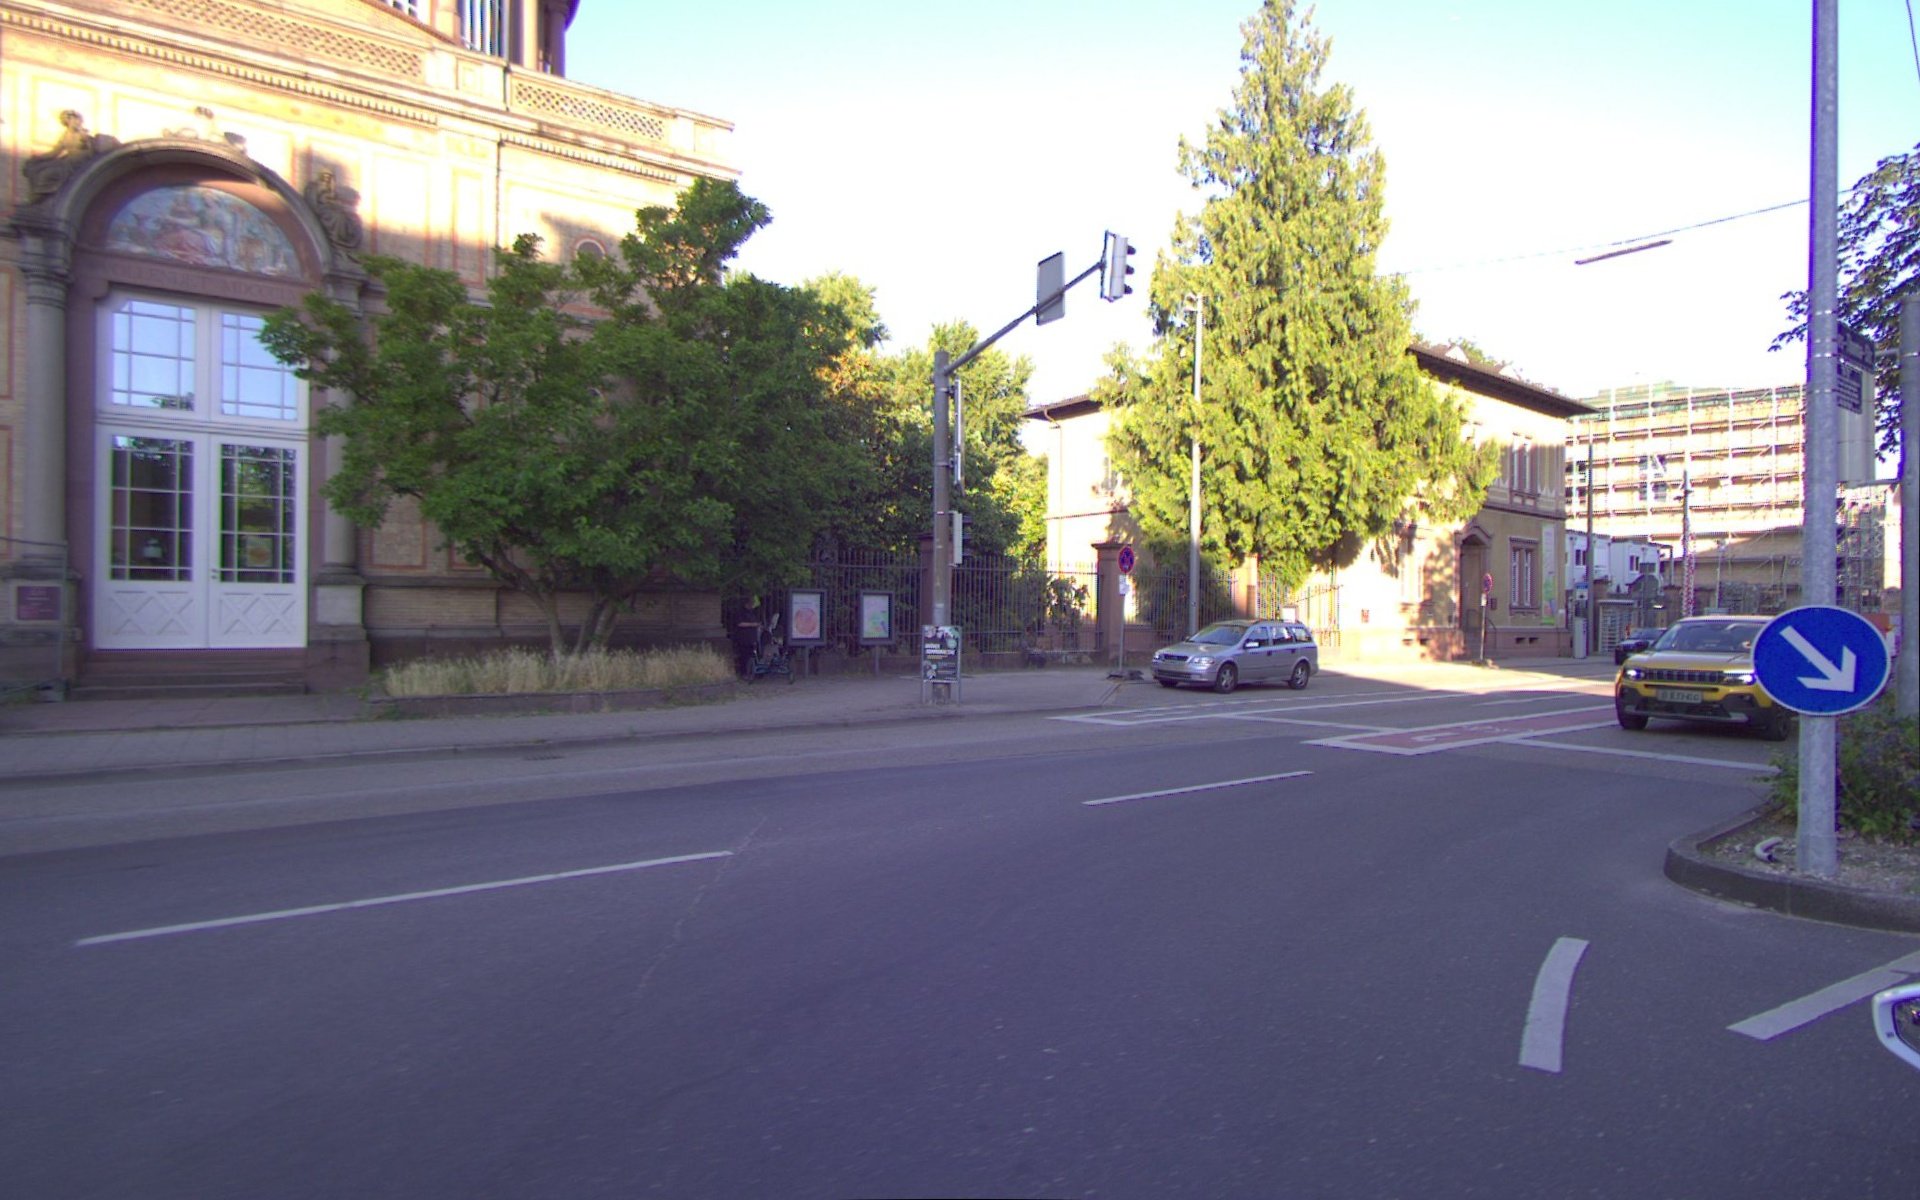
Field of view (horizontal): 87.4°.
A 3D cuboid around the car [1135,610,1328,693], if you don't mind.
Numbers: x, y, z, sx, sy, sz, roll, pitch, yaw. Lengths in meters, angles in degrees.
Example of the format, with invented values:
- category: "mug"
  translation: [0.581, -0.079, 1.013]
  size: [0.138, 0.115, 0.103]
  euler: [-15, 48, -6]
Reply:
- category: "car"
  translation: [5.923, 1.040, 21.685]
  size: [4.329, 1.568, 1.731]
  euler: [1, 1, -37]

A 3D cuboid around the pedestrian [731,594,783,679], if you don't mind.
- category: "pedestrian"
  translation: [-3.944, 0.695, 19.500]
  size: [0.755, 1.600, 0.731]
  euler: [0, 0, -34]

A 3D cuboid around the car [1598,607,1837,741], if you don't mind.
- category: "car"
  translation: [10.491, 0.902, 13.810]
  size: [4.086, 1.568, 1.829]
  euler: [1, -1, -41]

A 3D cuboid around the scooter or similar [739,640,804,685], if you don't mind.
- category: "scooter or similar"
  translation: [-3.543, 1.171, 18.883]
  size: [1.018, 0.788, 0.673]
  euler: [1, 0, -35]

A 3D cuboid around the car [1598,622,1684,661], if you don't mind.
- category: "car"
  translation: [25.153, 1.517, 37.071]
  size: [3.855, 1.369, 1.666]
  euler: [1, -2, -40]
